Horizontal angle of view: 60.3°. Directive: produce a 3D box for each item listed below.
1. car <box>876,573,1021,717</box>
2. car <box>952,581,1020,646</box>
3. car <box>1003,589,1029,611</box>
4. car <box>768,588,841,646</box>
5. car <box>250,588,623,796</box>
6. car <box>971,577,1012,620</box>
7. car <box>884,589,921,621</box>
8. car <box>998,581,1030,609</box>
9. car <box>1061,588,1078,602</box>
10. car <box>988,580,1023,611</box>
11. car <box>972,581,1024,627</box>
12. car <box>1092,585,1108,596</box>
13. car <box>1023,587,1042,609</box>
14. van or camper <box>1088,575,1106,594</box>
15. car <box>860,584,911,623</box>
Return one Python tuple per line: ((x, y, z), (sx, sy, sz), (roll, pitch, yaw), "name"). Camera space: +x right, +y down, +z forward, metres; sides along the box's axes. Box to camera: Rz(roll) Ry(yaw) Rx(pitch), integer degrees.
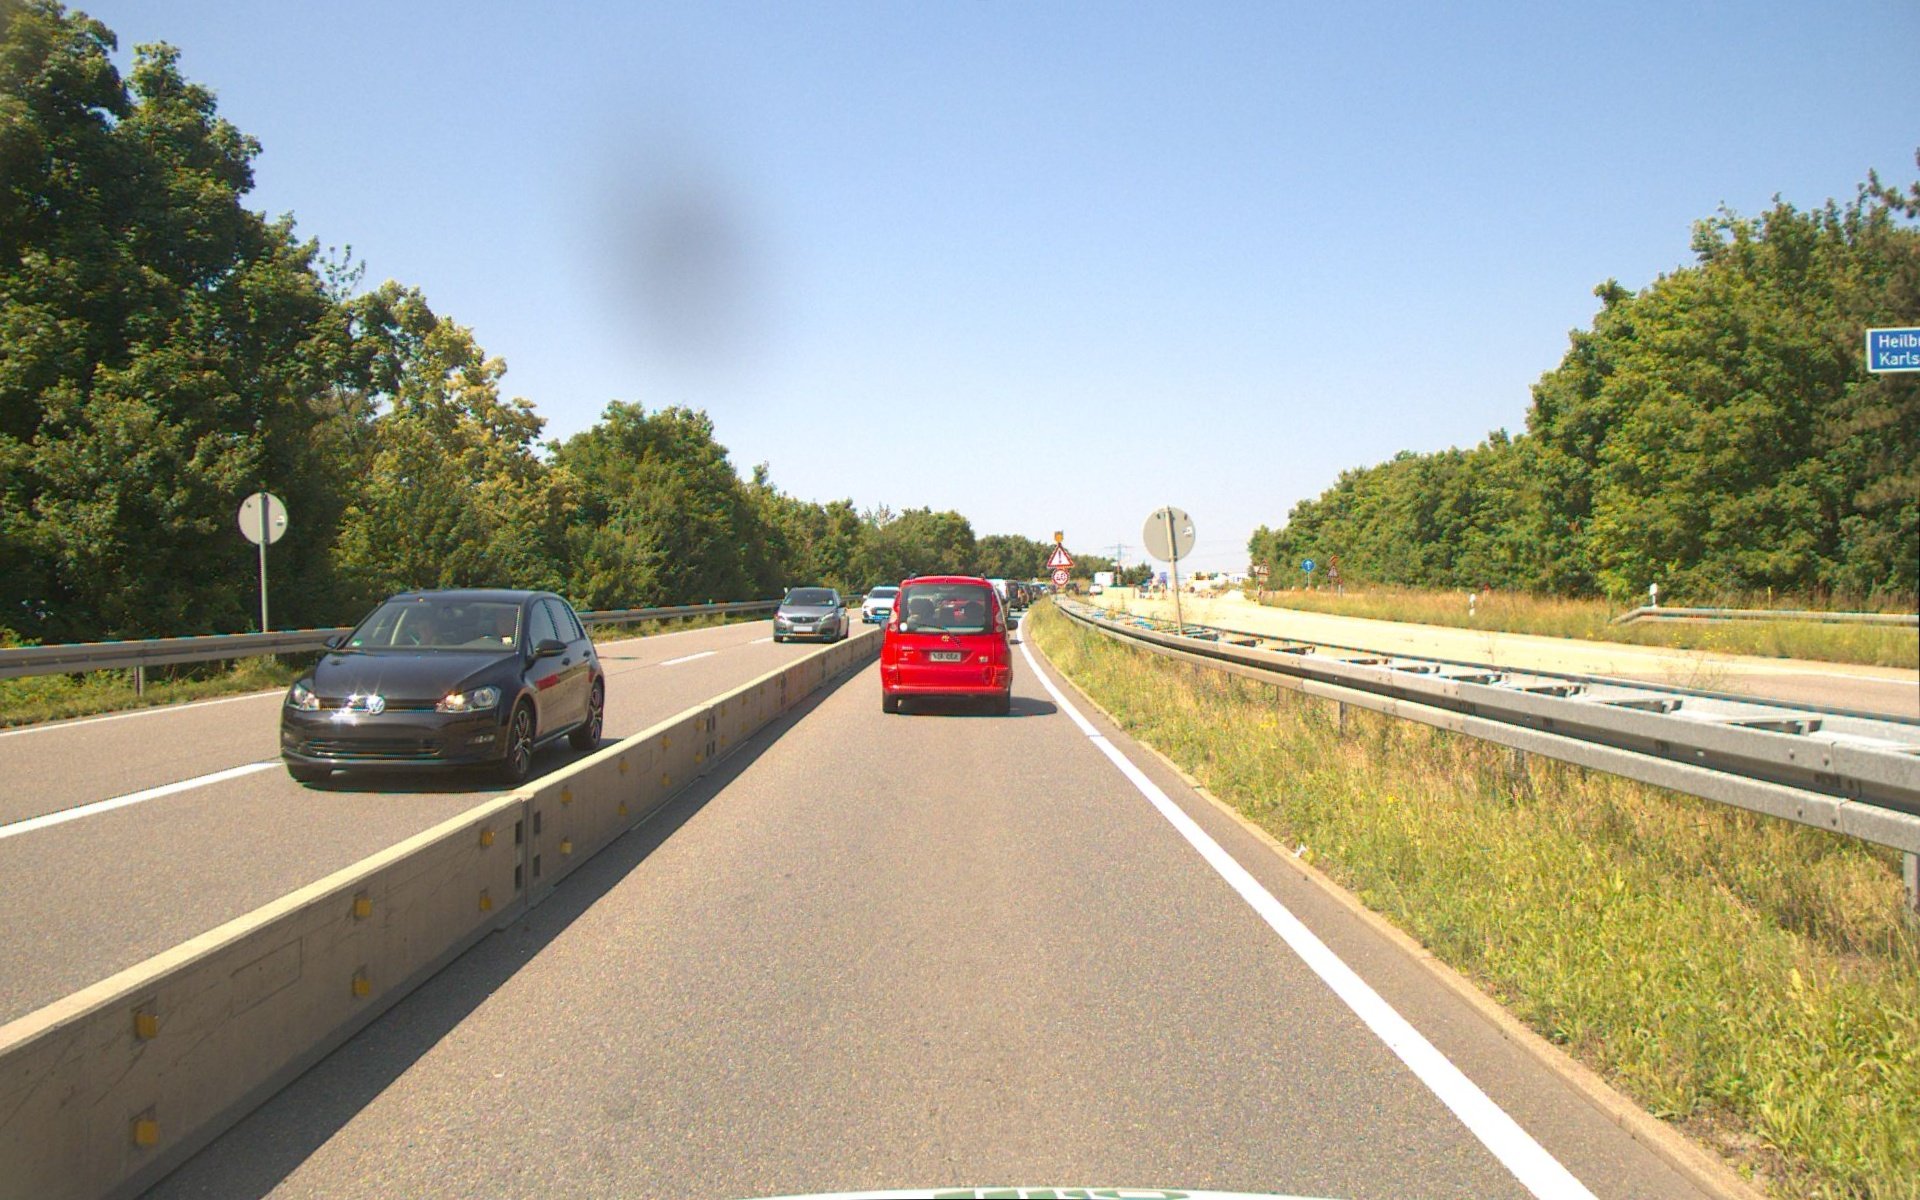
((-0.163, 0.528, 21.652), (1.716, 1.702, 3.999), (0, 0, -1), "car")
((0.686, 0.346, 46.644), (1.793, 1.752, 3.999), (0, 0, -1), "car")
((4.212, -0.030, 125.313), (1.952, 1.612, 4.001), (0, 0, 1), "car")
((-4.244, 0.440, 45.664), (1.690, 1.522, 4.387), (0, 0, -2), "car")
((-4.145, 0.638, 13.831), (1.778, 1.449, 4.108), (1, 0, 0), "car")
((1.556, -0.075, 81.114), (1.952, 2.038, 4.001), (0, 0, 1), "car")
((-2.994, 0.271, 87.160), (1.791, 1.658, 3.784), (0, 0, 0), "car")
((3.577, -0.323, 110.761), (1.953, 1.814, 3.999), (0, 0, -1), "car")
((12.491, -0.609, 189.149), (1.952, 1.579, 4.002), (1, 0, 3), "car")
((2.679, -0.273, 97.876), (1.952, 1.780, 4.000), (0, 0, 0), "car")
((1.558, 0.160, 68.947), (1.953, 1.870, 3.999), (0, 0, -2), "car")
((18.840, -1.294, 222.838), (1.952, 1.512, 4.001), (0, 0, 2), "car")
((6.014, -0.172, 137.777), (1.470, 1.767, 3.171), (1, 0, 4), "car")
((19.514, -2.212, 235.365), (2.280, 2.754, 4.594), (0, 0, 1), "van or camper")
((-3.029, 0.134, 68.017), (1.909, 1.565, 4.435), (0, 0, -1), "car")
